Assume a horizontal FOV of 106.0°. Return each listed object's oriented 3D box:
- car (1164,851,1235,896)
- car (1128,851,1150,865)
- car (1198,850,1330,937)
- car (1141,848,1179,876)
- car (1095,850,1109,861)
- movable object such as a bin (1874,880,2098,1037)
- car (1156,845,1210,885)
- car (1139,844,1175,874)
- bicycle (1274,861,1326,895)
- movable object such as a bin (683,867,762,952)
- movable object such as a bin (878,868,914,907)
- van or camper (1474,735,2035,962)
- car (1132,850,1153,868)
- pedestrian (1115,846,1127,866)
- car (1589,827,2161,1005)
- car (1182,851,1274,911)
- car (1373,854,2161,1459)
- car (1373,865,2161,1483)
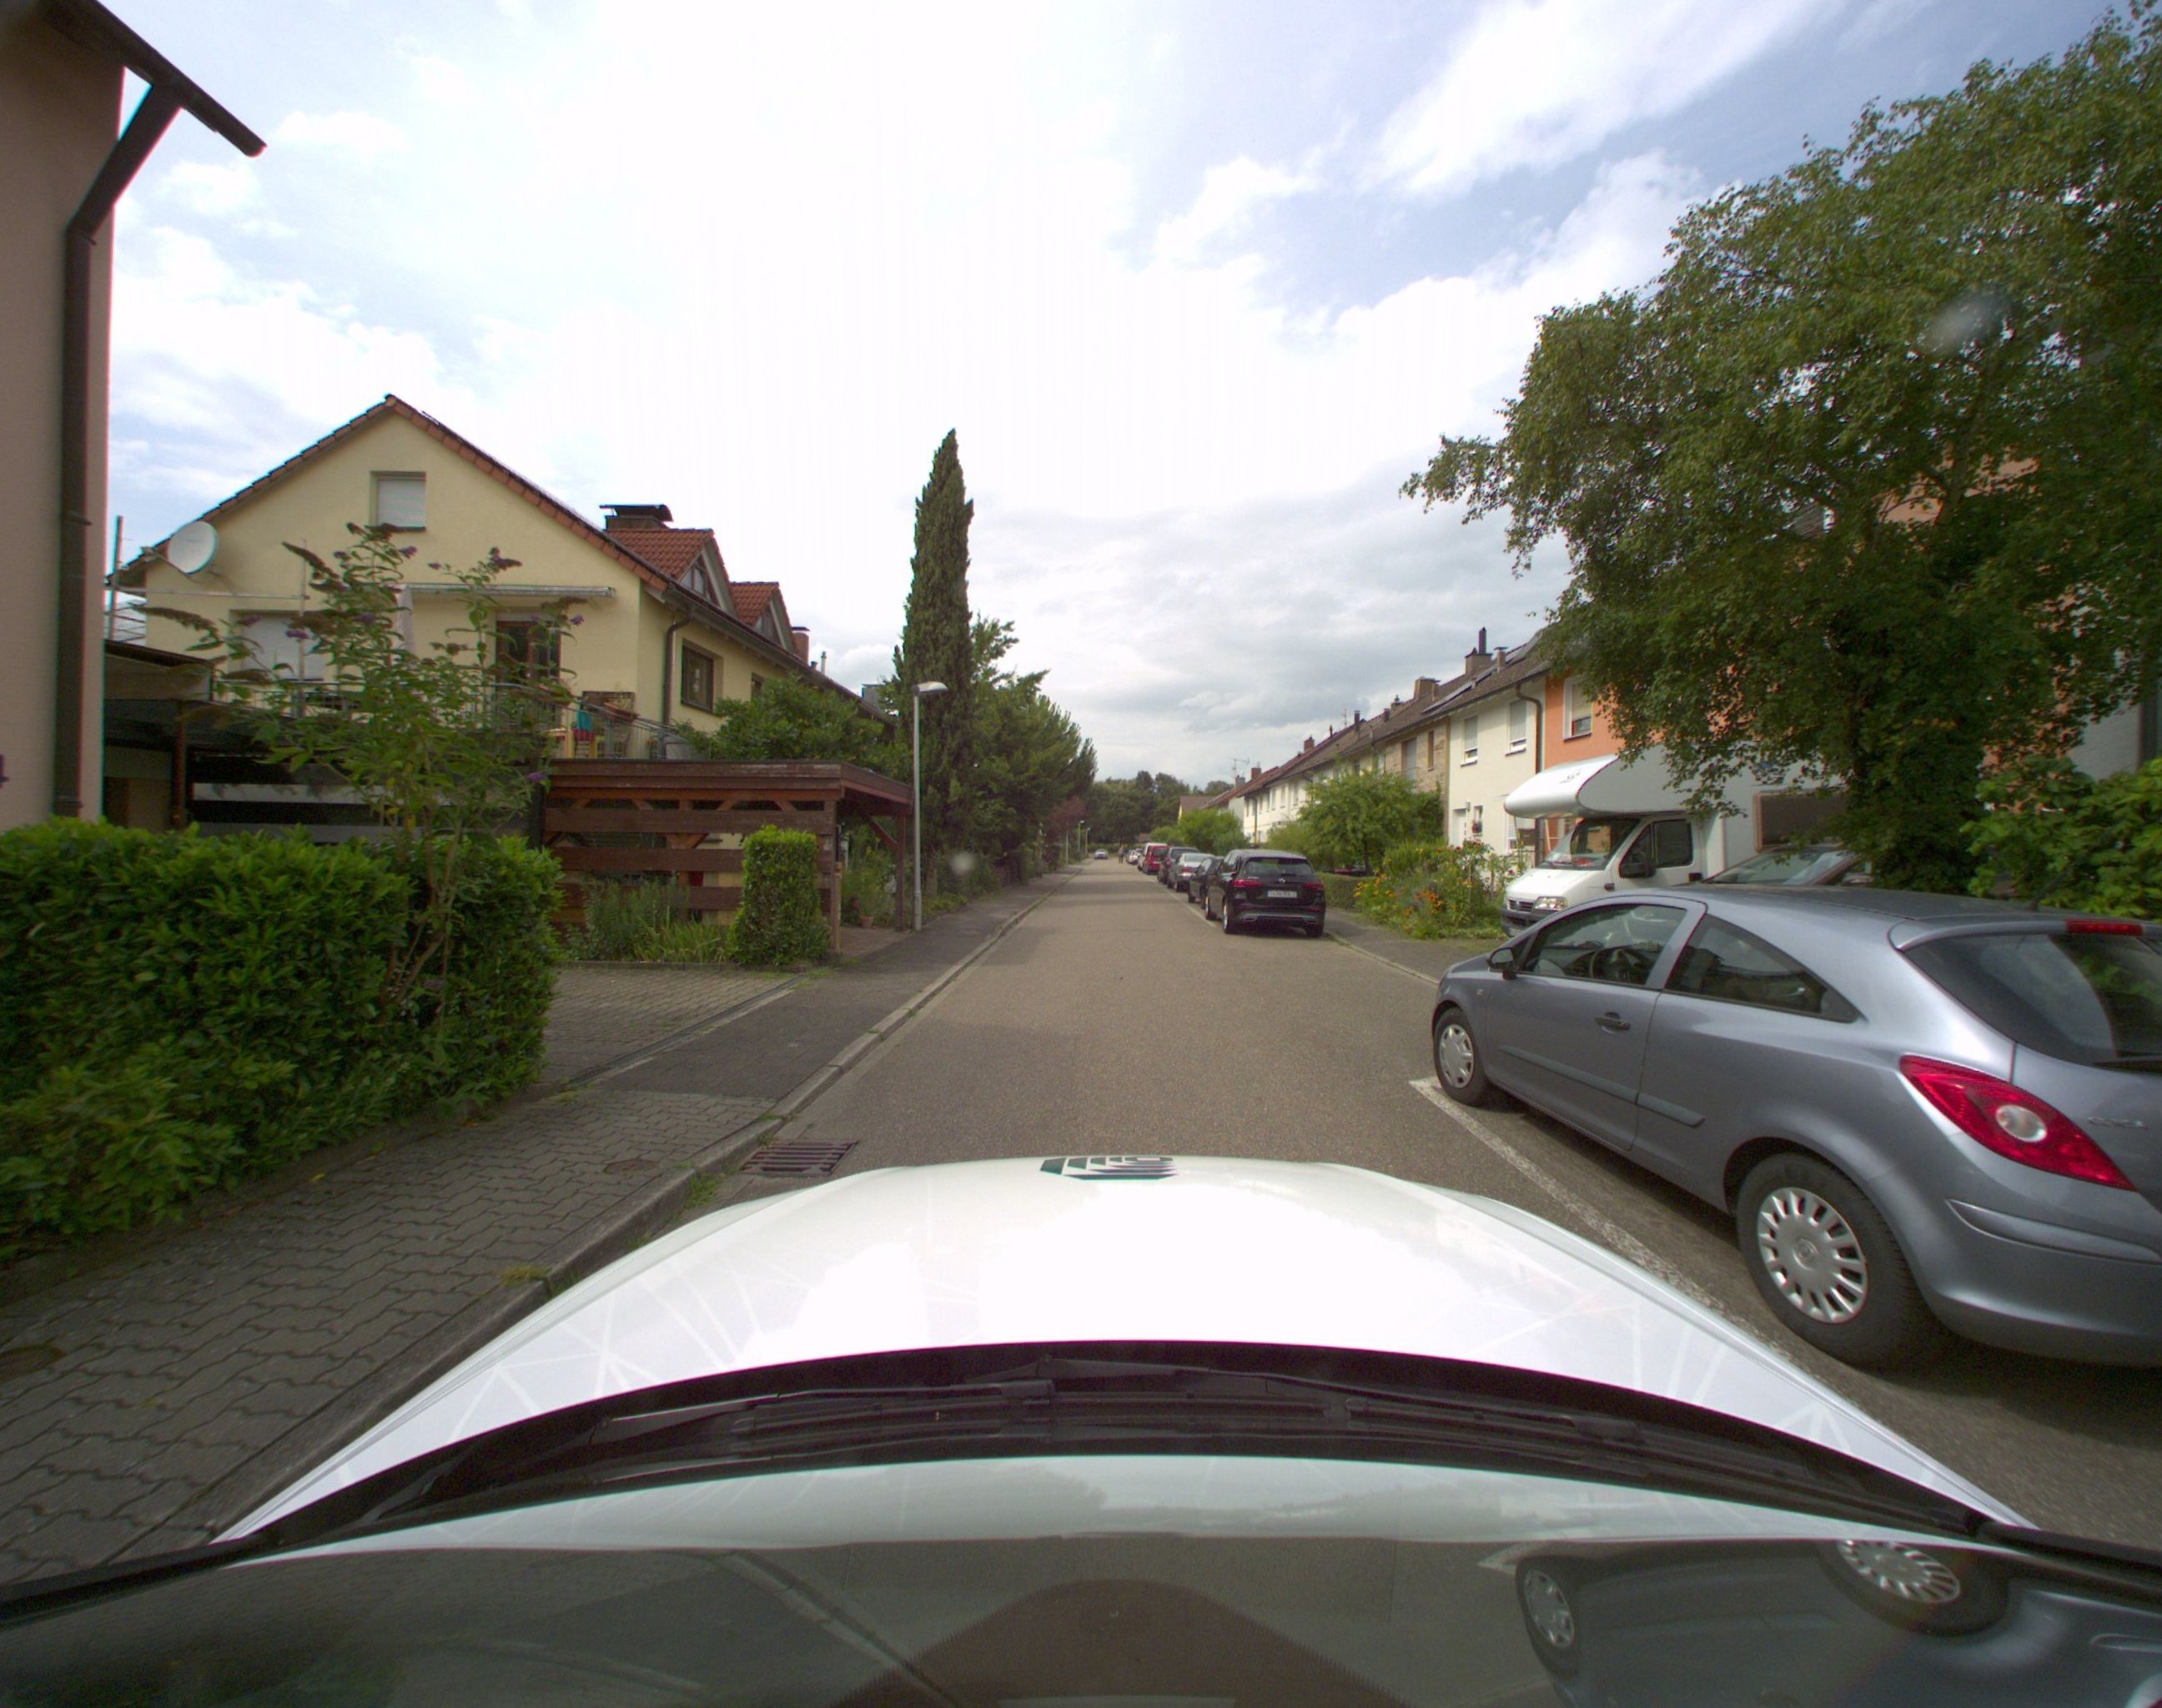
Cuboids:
[{"bbox_3d":[4.252,0.655,29.990,1.862,1.407,4.767,2,0,0],"label":"car"},{"bbox_3d":[5.863,0.408,82.805,1.832,1.413,4.635,0,0,-1],"label":"car"},{"bbox_3d":[3.518,0.676,16.473,1.743,1.467,4.650,1,0,2],"label":"car"},{"bbox_3d":[4.866,0.459,50.601,1.805,1.651,4.408,0,0,-2],"label":"car"},{"bbox_3d":[3.149,0.207,120.162,1.926,1.556,4.637,0,0,3],"label":"car"},{"bbox_3d":[7.676,0.844,6.976,0.716,1.193,1.100,0,0,2],"label":"movable object such as a bin"},{"bbox_3d":[4.496,0.455,36.429,1.861,1.653,4.464,1,0,0],"label":"car"},{"bbox_3d":[5.122,0.326,55.598,2.014,1.947,4.747,0,0,0],"label":"car"},{"bbox_3d":[6.784,0.751,25.239,1.530,1.023,0.377,1,0,7],"label":"bicycle"},{"bbox_3d":[-5.011,0.759,11.429,0.701,1.130,0.878,0,0,1],"label":"movable object such as a bin"},{"bbox_3d":[-4.729,0.842,20.855,0.709,0.956,0.751,0,0,1],"label":"movable object such as a bin"},{"bbox_3d":[9.075,-0.079,11.598,5.770,2.818,2.541,0,0,5],"label":"van or camper"},{"bbox_3d":[5.675,0.474,75.219,1.707,1.543,3.976,2,0,2],"label":"car"},{"bbox_3d":[4.083,0.176,83.188,0.913,2.013,0.947,0,0,-13],"label":"pedestrian"},{"bbox_3d":[8.589,0.608,9.179,4.510,1.708,1.902,1,0,4],"label":"car"},{"bbox_3d":[3.887,0.659,22.126,1.727,1.428,4.125,1,0,0],"label":"car"},{"bbox_3d":[3.141,0.762,4.167,1.736,1.470,4.215,0,1,-1],"label":"car"},{"bbox_3d":[3.112,0.851,4.152,1.698,1.442,4.220,2,0,0],"label":"car"}]
